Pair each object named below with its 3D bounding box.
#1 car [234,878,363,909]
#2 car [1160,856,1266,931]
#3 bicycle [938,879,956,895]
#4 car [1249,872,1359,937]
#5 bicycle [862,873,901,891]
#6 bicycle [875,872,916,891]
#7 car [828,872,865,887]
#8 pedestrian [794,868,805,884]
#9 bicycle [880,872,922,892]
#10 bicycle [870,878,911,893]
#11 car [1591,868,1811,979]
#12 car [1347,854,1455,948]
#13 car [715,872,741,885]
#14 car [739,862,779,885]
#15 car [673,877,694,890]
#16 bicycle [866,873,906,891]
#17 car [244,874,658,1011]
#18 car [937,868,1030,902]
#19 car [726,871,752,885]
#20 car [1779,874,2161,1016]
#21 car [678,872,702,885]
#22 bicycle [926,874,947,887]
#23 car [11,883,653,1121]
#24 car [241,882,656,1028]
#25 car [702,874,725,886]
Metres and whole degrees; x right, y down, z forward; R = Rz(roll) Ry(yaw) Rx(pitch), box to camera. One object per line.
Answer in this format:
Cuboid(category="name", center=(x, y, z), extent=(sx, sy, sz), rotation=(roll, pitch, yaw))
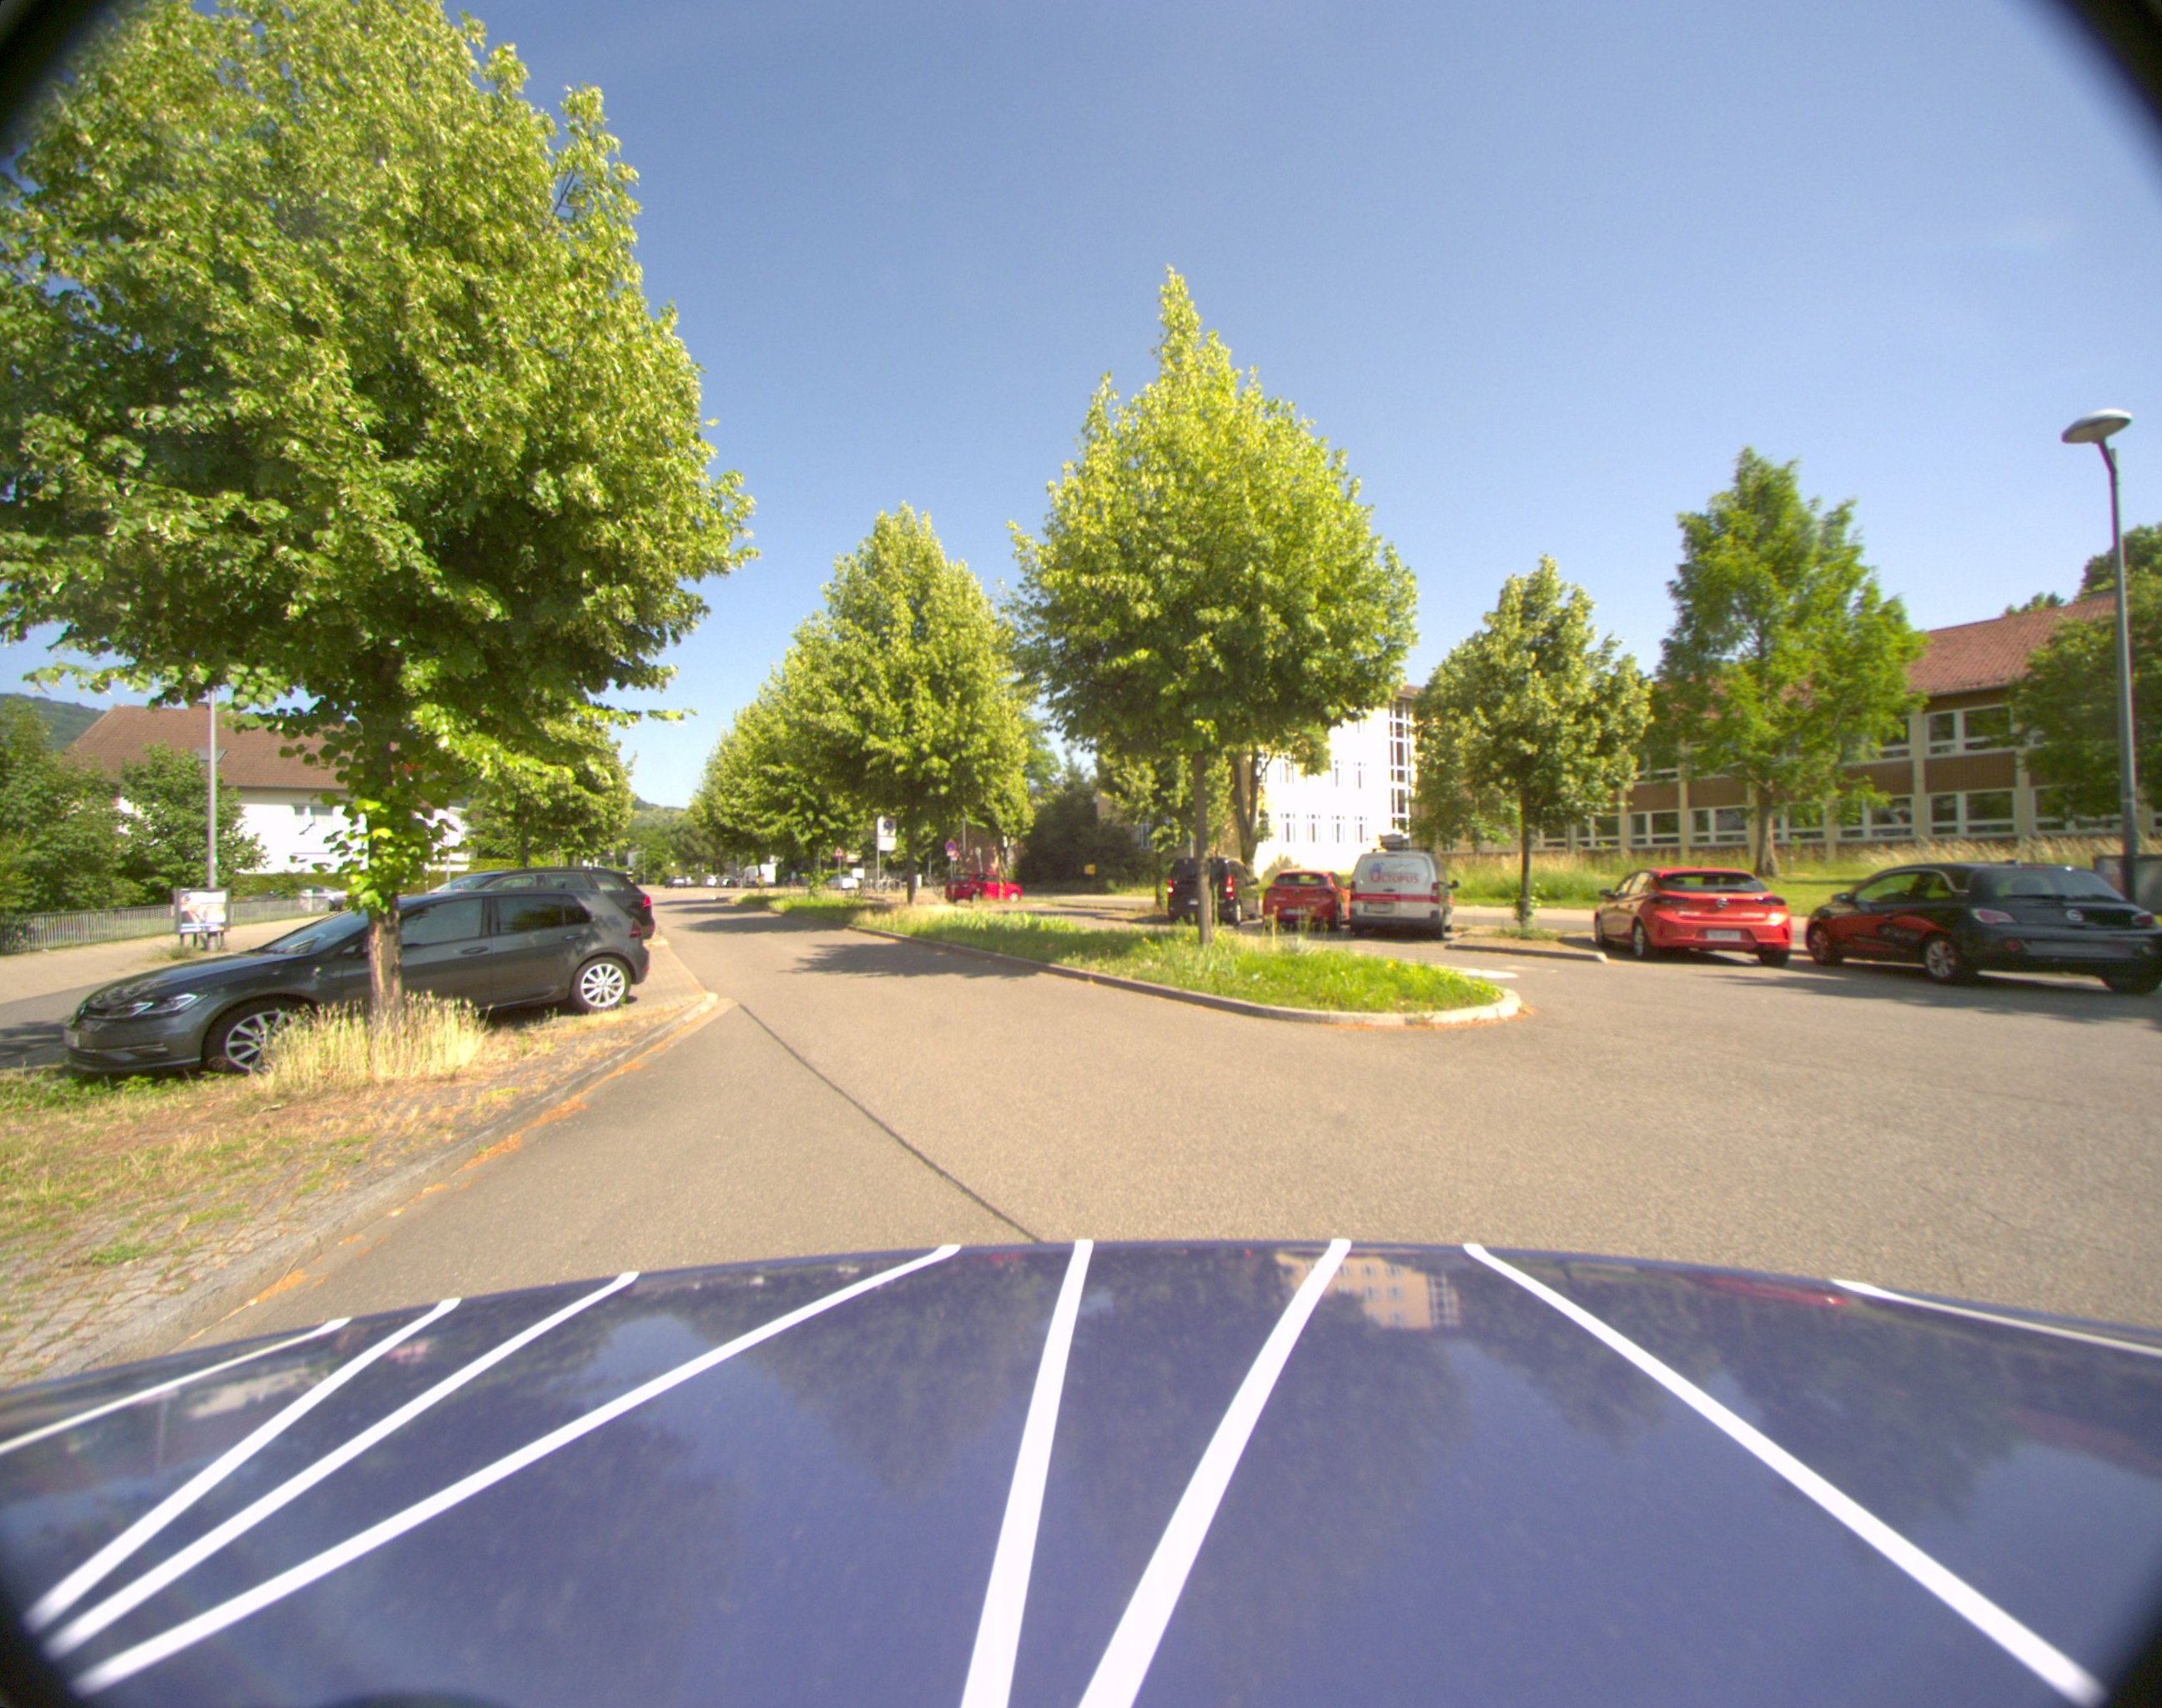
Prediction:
Cuboid(category="car", center=(-38.571, 1.953, 37.610), extent=(4.136, 1.389, 1.807), rotation=(0, -4, -31))
Cuboid(category="car", center=(3.685, 1.024, 20.567), extent=(2.000, 1.805, 4.196), rotation=(-2, -2, 21))
Cuboid(category="bicycle", center=(-7.680, 1.874, 43.518), extent=(0.523, 0.898, 1.267), rotation=(1, -1, -36))
Cuboid(category="car", center=(5.565, 1.165, 18.638), extent=(1.851, 1.419, 3.782), rotation=(-2, -2, 27))
Cuboid(category="bicycle", center=(-13.965, 1.964, 53.337), extent=(2.558, 1.248, 0.738), rotation=(1, -2, -34))
Cuboid(category="bicycle", center=(-12.269, 1.821, 50.293), extent=(2.528, 1.248, 0.738), rotation=(1, -2, -34))
Cuboid(category="car", center=(-20.641, 2.255, 66.916), extent=(1.729, 1.259, 3.990), rotation=(1, -2, -39))
Cuboid(category="pedestrian", center=(-31.189, 2.455, 84.075), extent=(0.978, 1.769, 0.723), rotation=(-1, 0, -35))
Cuboid(category="bicycle", center=(-11.698, 1.824, 49.450), extent=(2.557, 1.249, 0.738), rotation=(-1, -1, -34))
Cuboid(category="bicycle", center=(-12.901, 2.093, 51.436), extent=(2.558, 0.981, 0.738), rotation=(1, -2, -34))
Cuboid(category="car", center=(9.612, 0.974, 12.156), extent=(1.711, 1.415, 3.849), rotation=(-1, -1, 23))
Cuboid(category="car", center=(6.956, 0.899, 16.321), extent=(1.814, 1.761, 3.781), rotation=(-1, 0, 27))
Cuboid(category="car", center=(-42.450, 2.949, 91.317), extent=(1.729, 1.549, 4.660), rotation=(1, -2, -39))
Cuboid(category="car", center=(-35.205, 2.173, 83.008), extent=(2.100, 2.481, 5.937), rotation=(1, -2, -43))
Cuboid(category="car", center=(-48.935, 3.645, 93.443), extent=(1.750, 1.537, 4.062), rotation=(1, -1, -36))
Cuboid(category="bicycle", center=(-13.446, 1.933, 52.454), extent=(2.558, 1.231, 0.738), rotation=(1, -2, -34))
Cuboid(category="car", center=(-9.595, 1.196, 12.128), extent=(1.748, 1.650, 4.755), rotation=(-1, -1, 28))
Cuboid(category="car", center=(-4.463, 1.428, 35.158), extent=(1.994, 1.457, 4.009), rotation=(-2, -2, 38))
Cuboid(category="car", center=(-39.363, 2.765, 87.453), extent=(1.729, 1.549, 3.990), rotation=(1, -2, -39))
Cuboid(category="car", center=(11.094, 0.972, 9.677), extent=(1.852, 1.414, 3.780), rotation=(0, -1, 18))
Cuboid(category="car", center=(-53.761, 3.425, 104.401), extent=(1.851, 1.753, 4.573), rotation=(1, -2, -41))
Cuboid(category="bicycle", center=(-12.112, 2.205, 63.732), extent=(1.713, 1.074, 0.378), rotation=(-2, -1, 9))
Cuboid(category="car", center=(-6.904, 1.125, 7.578), extent=(1.995, 1.521, 4.125), rotation=(-2, -1, 28))
Cuboid(category="car", center=(-8.354, 1.187, 10.470), extent=(1.764, 1.465, 4.008), rotation=(-2, -1, 29))
Cuboid(category="car", center=(-46.488, 3.277, 96.115), extent=(1.729, 1.549, 3.990), rotation=(1, -2, -39))
